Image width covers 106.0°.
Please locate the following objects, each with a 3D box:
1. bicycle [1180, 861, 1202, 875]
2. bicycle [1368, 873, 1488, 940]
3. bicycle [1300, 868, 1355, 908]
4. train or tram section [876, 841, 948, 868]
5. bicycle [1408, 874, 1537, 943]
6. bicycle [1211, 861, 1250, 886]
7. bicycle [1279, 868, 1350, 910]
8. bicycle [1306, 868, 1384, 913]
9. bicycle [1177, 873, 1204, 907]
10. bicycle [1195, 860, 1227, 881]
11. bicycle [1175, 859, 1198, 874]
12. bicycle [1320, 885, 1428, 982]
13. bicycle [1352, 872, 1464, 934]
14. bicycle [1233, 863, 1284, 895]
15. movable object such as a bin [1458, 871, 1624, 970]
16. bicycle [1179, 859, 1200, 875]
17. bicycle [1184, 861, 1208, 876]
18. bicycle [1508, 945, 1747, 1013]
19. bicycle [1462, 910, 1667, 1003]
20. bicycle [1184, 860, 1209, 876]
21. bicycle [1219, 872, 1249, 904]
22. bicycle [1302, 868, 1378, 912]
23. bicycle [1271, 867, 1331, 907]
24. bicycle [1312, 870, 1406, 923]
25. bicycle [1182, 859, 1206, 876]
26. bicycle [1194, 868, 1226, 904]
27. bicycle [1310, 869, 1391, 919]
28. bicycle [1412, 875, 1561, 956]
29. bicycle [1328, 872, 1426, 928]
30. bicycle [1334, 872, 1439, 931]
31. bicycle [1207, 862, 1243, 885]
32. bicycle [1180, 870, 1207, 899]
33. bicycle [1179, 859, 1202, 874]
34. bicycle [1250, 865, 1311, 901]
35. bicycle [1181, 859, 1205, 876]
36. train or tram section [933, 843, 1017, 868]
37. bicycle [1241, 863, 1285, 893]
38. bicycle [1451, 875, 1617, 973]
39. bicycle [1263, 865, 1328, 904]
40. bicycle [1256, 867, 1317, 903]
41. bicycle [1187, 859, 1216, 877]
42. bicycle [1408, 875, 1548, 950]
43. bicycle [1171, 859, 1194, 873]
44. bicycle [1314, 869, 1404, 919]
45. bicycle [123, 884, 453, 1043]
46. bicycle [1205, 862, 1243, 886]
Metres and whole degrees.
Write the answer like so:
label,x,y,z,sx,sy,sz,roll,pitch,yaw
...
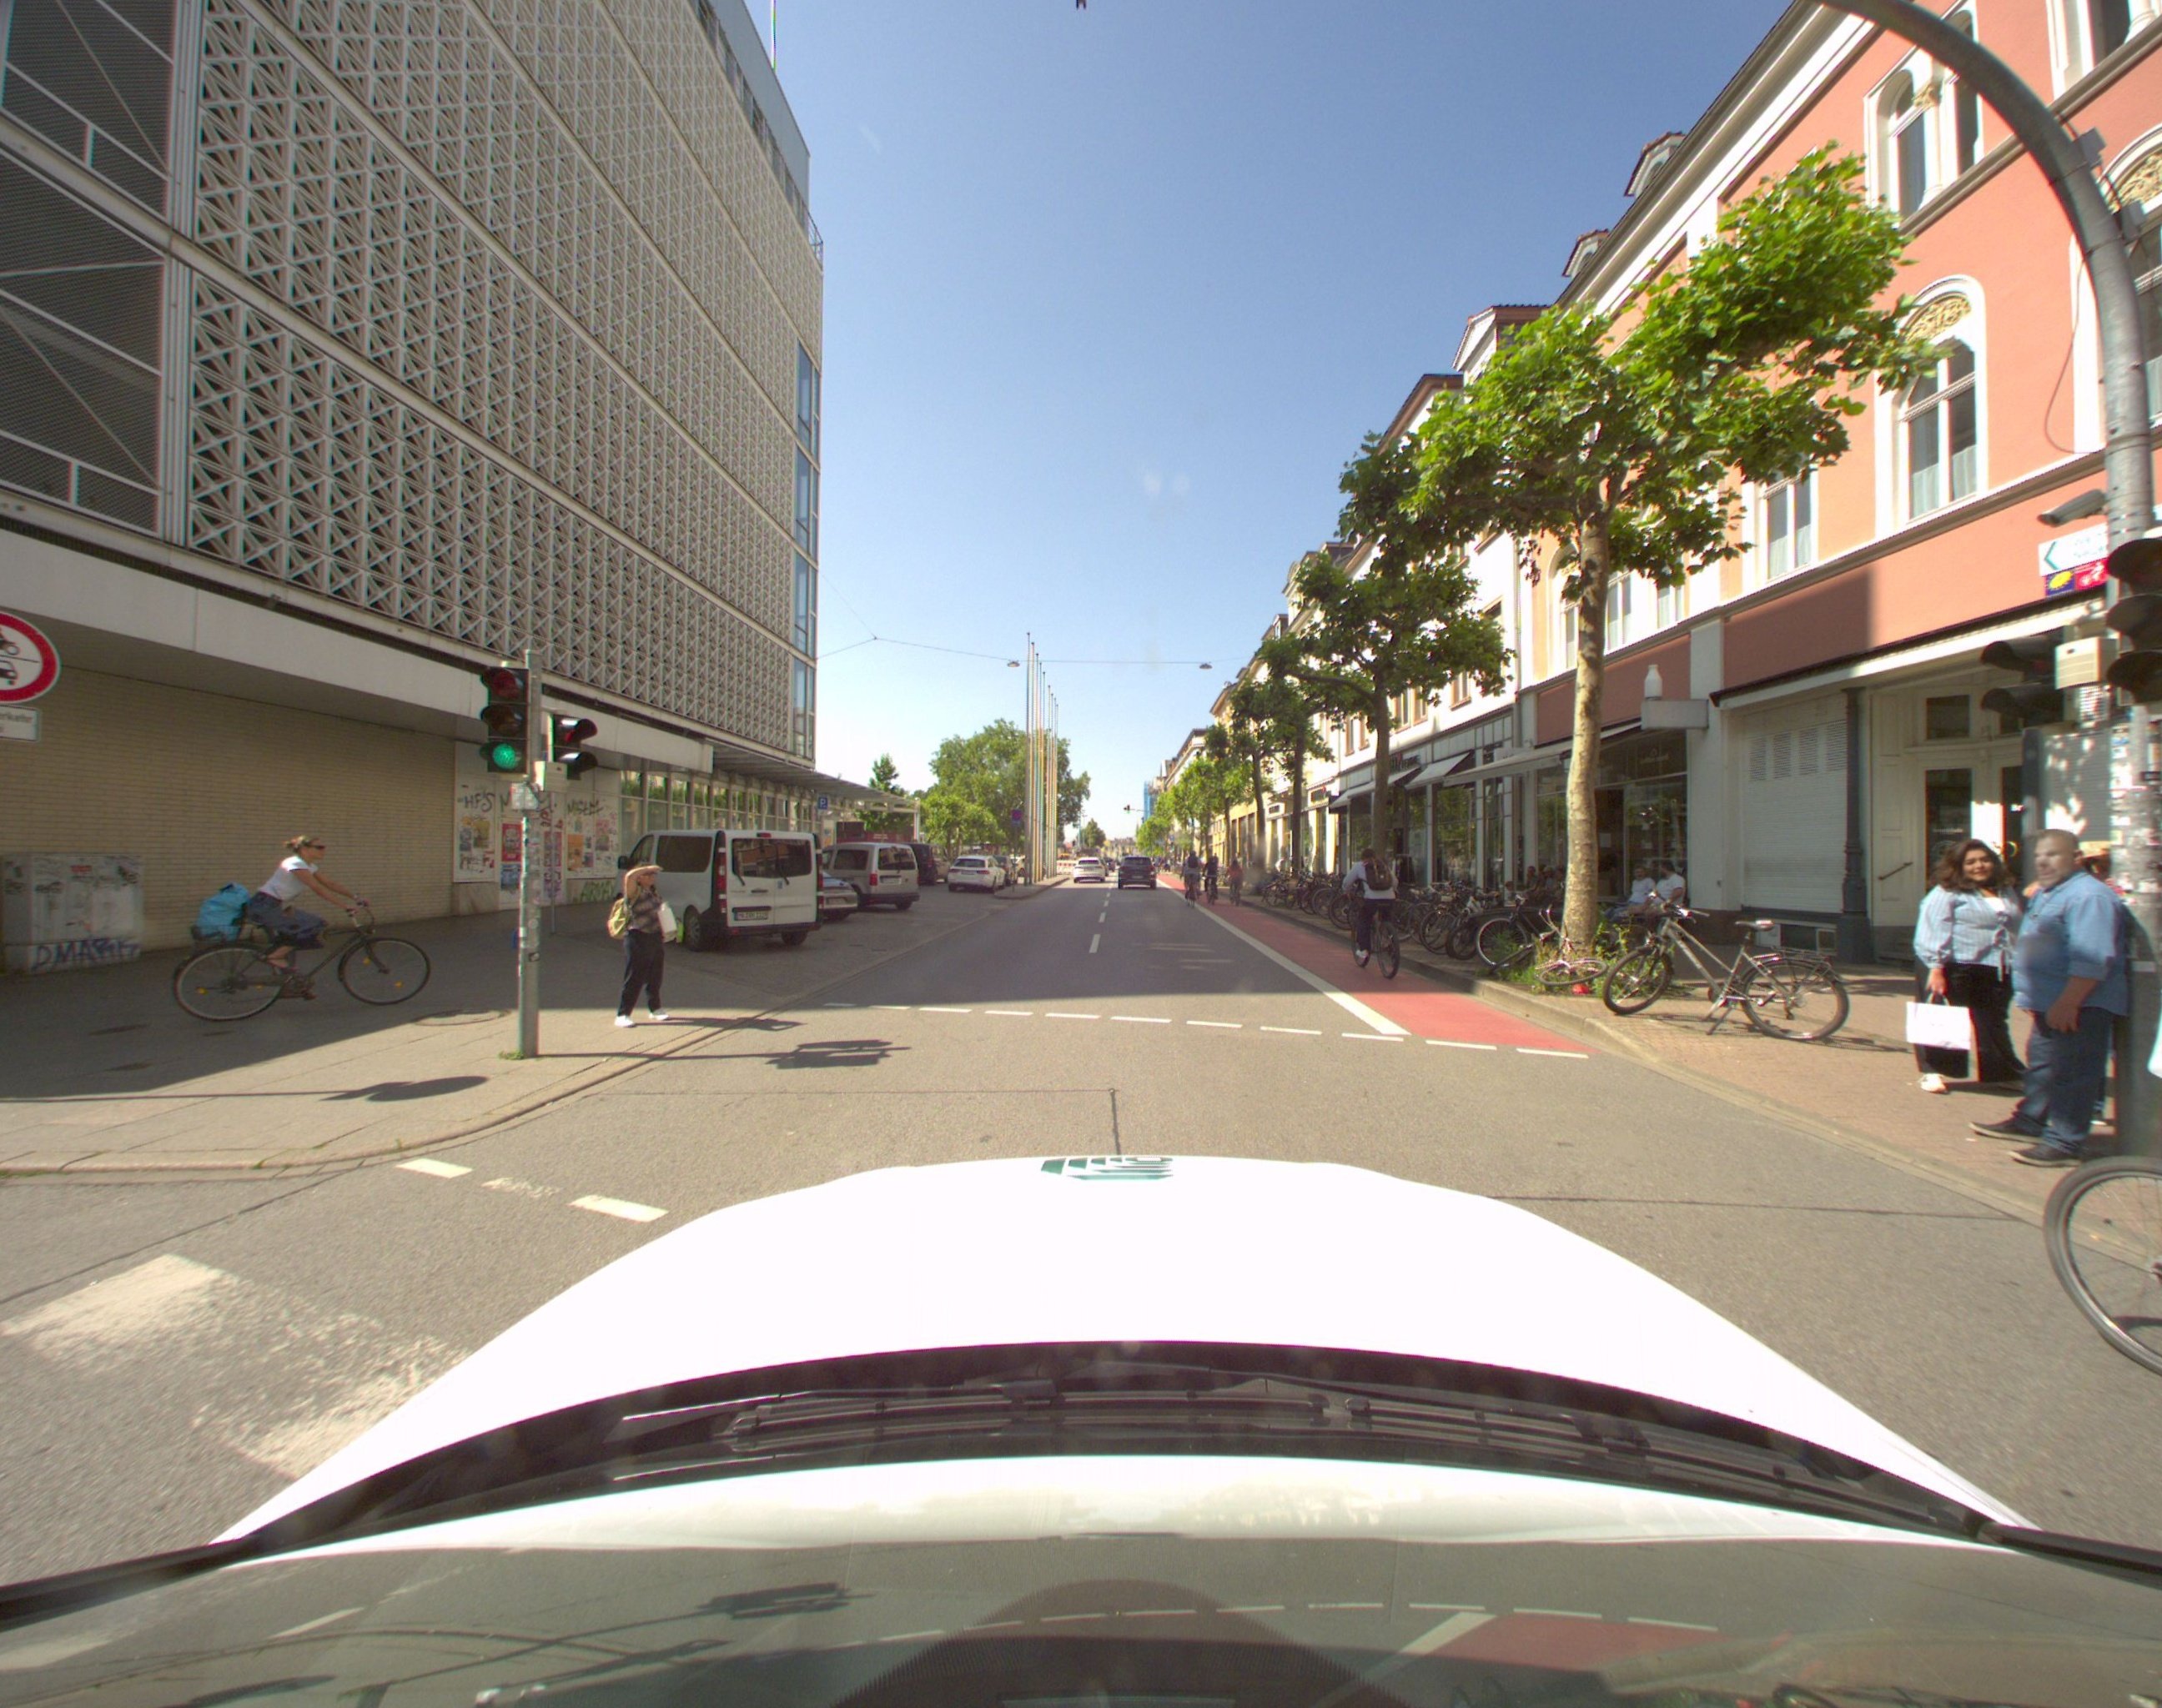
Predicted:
label,x,y,z,sx,sy,sz,roll,pitch,yaw
bicycle,8.589,1.068,63.430,1.641,1.095,0.607,1,-1,4
bicycle,6.044,0.907,14.253,1.831,1.127,0.644,0,-1,4
bicycle,7.112,0.965,23.452,1.853,1.127,0.443,1,-2,-35
train or tram section,-23.987,0.093,116.276,2.588,3.677,11.071,0,0,38
bicycle,6.515,0.895,13.629,1.831,1.127,0.667,0,-1,4
bicycle,7.253,0.938,39.568,1.829,1.197,0.675,1,-1,9
bicycle,6.439,0.944,22.497,1.822,1.127,0.451,-1,-2,30
bicycle,6.709,0.926,20.725,1.831,1.127,0.449,0,-2,5
bicycle,3.373,1.096,25.262,0.628,0.980,2.089,0,-1,2
bicycle,7.719,0.979,48.392,1.830,1.186,0.671,2,-1,7
bicycle,8.669,1.036,66.680,1.835,1.201,0.609,1,-1,4
bicycle,3.960,1.026,11.188,0.696,1.127,2.080,2,0,-1
bicycle,6.113,0.904,15.299,1.831,1.127,0.667,0,-1,4
bicycle,6.874,0.975,31.545,1.837,1.127,0.496,2,1,-6
movable object such as a bin,6.171,0.868,11.029,1.836,1.189,0.656,2,0,17
bicycle,8.658,1.021,64.953,1.641,1.201,0.475,1,-1,4
bicycle,8.269,1.049,58.651,1.720,1.109,0.478,1,-1,4
bicycle,5.934,1.382,8.986,1.142,0.434,1.842,-10,-5,-23
bicycle,5.741,1.245,9.797,1.841,0.397,1.019,8,-35,6
bicycle,8.219,0.999,57.818,1.720,1.109,0.403,1,-1,4
bicycle,5.076,1.110,27.122,0.598,0.925,2.087,2,1,0
bicycle,6.712,0.930,21.185,1.831,1.127,0.449,0,-2,5
bicycle,6.370,0.938,23.531,1.853,1.127,0.588,1,-2,-34
bicycle,6.076,0.919,17.864,1.831,1.127,0.680,0,-1,4
bicycle,8.204,0.975,59.015,1.720,1.217,0.478,1,-1,4
bicycle,4.290,1.047,27.246,0.696,1.127,2.080,2,0,-1
bicycle,6.571,0.960,19.928,1.826,1.127,0.532,2,-1,14
bicycle,5.879,0.879,11.902,1.829,1.127,0.668,0,-1,9
bicycle,6.084,0.935,16.806,1.831,1.127,0.530,0,-2,4
bicycle,6.027,0.928,16.115,1.831,1.127,0.667,0,-1,4
bicycle,7.473,1.006,42.284,1.830,1.097,0.795,1,-1,7
bicycle,4.178,1.119,30.371,0.771,1.006,2.331,0,0,3
bicycle,8.806,1.026,65.361,1.835,1.201,0.475,1,-1,4
bicycle,6.623,0.954,27.094,1.839,1.127,0.630,3,-1,-8
bicycle,8.232,0.989,59.740,1.720,1.217,0.478,1,-1,4
train or tram section,-16.183,0.246,126.453,2.588,3.677,15.645,0,0,37
bicycle,7.431,0.971,33.192,1.783,1.197,0.573,1,-1,-25
bicycle,5.848,0.888,10.598,1.825,1.127,0.347,2,1,17
bicycle,6.801,0.967,25.845,1.840,1.127,0.763,3,-2,-11
bicycle,6.698,1.014,26.591,1.839,1.093,0.563,2,-1,-8
bicycle,8.189,0.951,55.483,1.922,1.248,0.737,1,-1,4
bicycle,6.145,0.886,12.672,1.831,1.127,0.667,0,-1,4
bicycle,8.857,1.035,71.093,1.937,1.257,0.701,1,-1,-17
bicycle,6.523,0.931,19.216,1.971,1.127,0.764,0,-2,15
bicycle,-7.548,0.968,7.937,2.223,1.267,0.727,0,1,-41
bicycle,7.140,0.984,40.639,1.827,1.127,0.499,2,-1,13
